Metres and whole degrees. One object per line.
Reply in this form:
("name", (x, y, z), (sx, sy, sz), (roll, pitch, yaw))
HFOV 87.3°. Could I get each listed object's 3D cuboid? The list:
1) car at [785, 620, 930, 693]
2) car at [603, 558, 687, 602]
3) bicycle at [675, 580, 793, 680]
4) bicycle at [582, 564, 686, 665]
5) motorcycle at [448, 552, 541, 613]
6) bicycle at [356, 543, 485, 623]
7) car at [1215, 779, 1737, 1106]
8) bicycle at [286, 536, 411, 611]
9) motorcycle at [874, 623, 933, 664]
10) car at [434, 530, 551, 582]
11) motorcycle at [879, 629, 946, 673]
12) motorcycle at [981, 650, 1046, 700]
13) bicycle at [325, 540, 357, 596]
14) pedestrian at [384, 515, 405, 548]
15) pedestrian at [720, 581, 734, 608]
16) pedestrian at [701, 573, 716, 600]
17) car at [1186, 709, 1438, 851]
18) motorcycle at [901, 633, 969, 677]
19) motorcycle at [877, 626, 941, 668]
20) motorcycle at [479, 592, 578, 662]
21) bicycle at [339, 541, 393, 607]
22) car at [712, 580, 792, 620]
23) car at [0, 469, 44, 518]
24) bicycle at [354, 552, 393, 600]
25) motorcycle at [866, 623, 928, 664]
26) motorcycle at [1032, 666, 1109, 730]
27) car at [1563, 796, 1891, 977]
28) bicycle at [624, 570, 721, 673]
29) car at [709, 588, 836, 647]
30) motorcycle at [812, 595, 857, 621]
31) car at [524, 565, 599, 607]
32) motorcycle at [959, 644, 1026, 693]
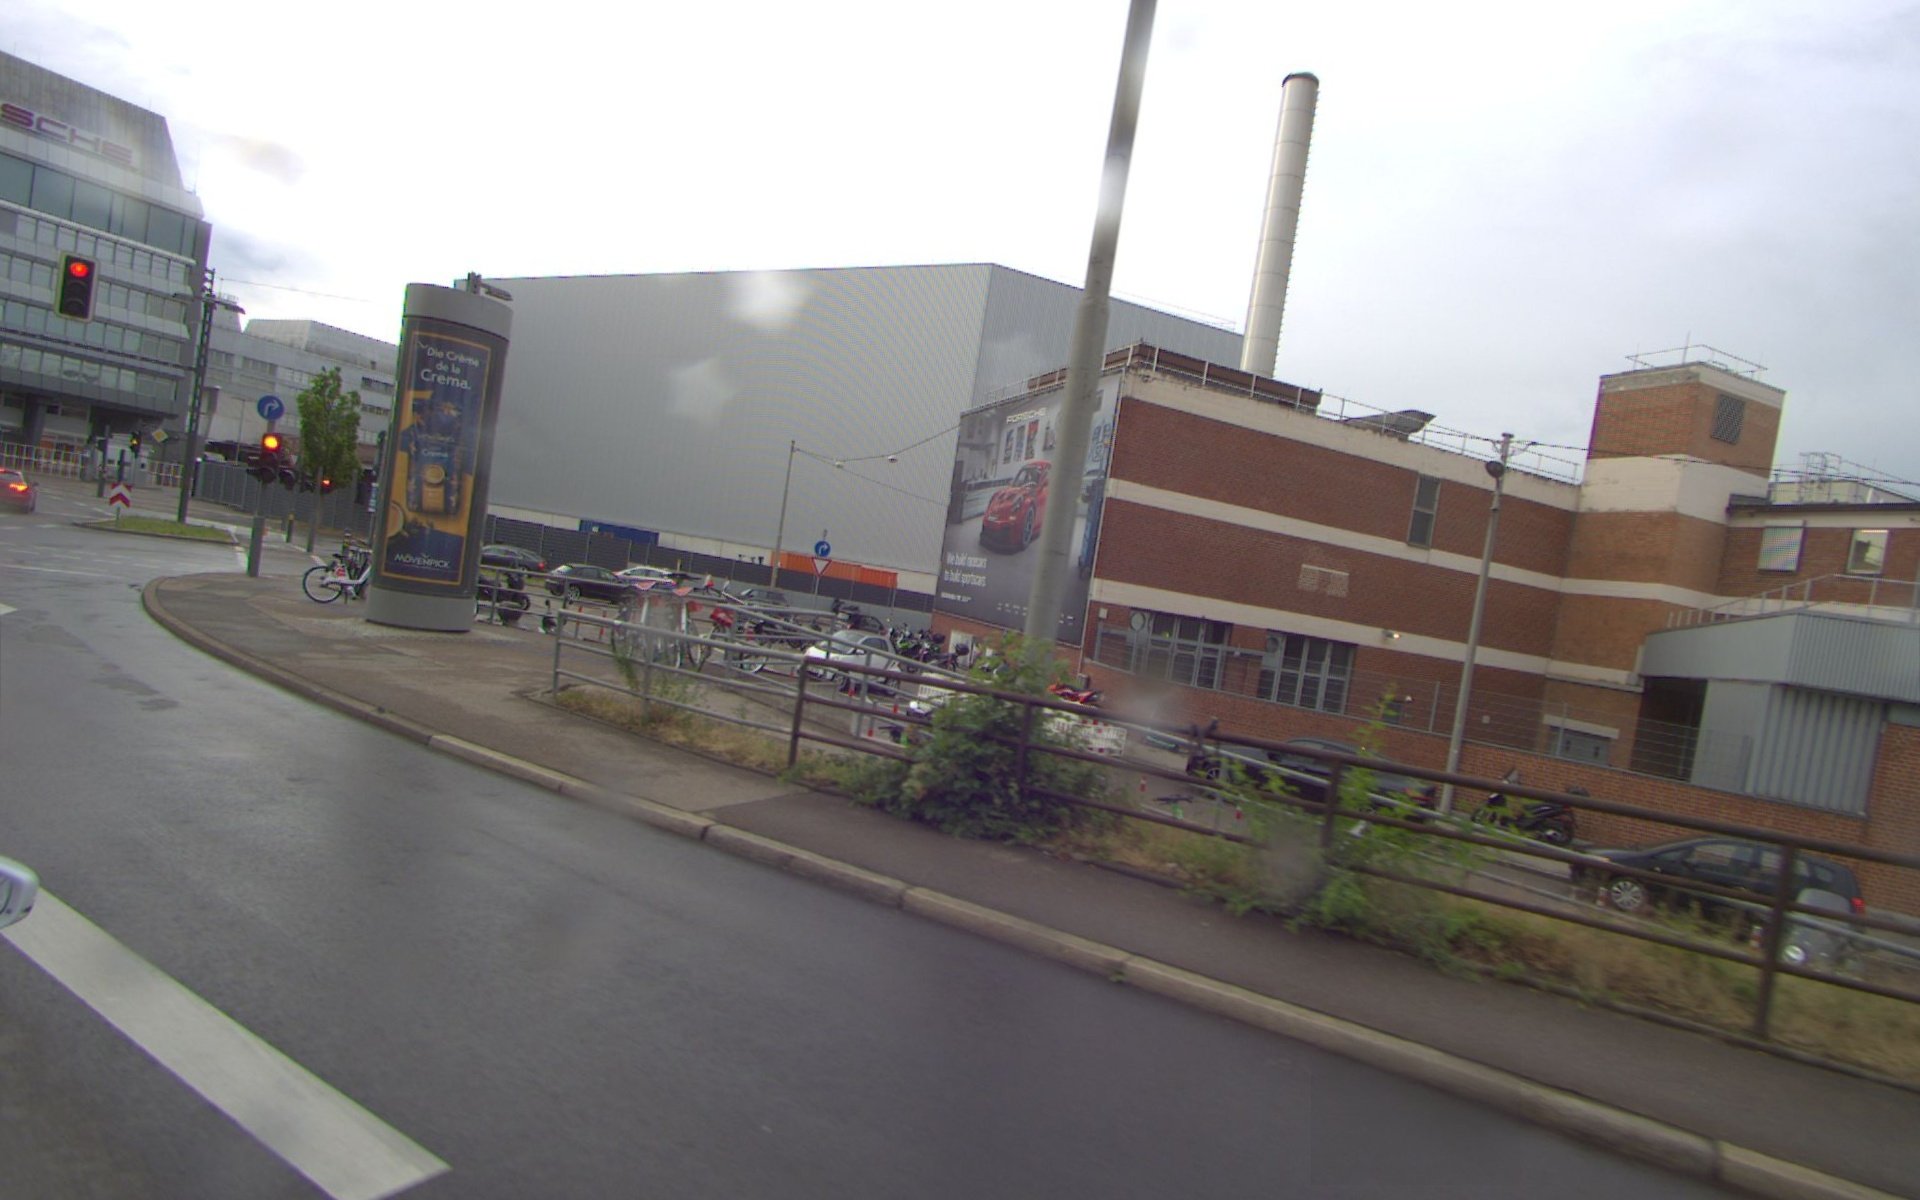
("car", (-2.742, 1.562, 27.348), (1.670, 1.500, 3.544), (11, 2, 43))
("car", (-16.340, -1.033, 52.301), (3.925, 1.620, 1.904), (10, 0, -17))
("bicycle", (-2.994, 0.405, 13.554), (0.588, 1.193, 1.933), (7, 0, 16))
("bicycle", (-4.494, 0.199, 14.014), (0.588, 1.239, 1.932), (7, 0, 3))
("motorcycle", (-13.593, -0.496, 29.409), (2.216, 1.470, 0.749), (8, 0, -36))
("bicycle", (-9.220, -0.264, 17.262), (0.582, 1.176, 1.801), (7, 0, 34))
("car", (4.564, 2.893, 9.301), (3.792, 1.574, 1.701), (8, 0, 31))
("bicycle", (-11.328, -0.478, 18.684), (0.668, 1.154, 1.769), (7, -1, 38))
("motorcycle", (-2.072, 1.596, 36.954), (1.984, 1.206, 0.609), (8, 4, 7))
("car", (-21.482, -2.003, 46.409), (4.519, 1.558, 1.750), (10, 0, -17))
("motorcycle", (-1.584, 1.707, 33.531), (1.992, 1.206, 0.607), (7, 4, -18))
("motorcycle", (1.547, 2.178, 29.081), (1.857, 1.327, 0.566), (5, 4, -41))
("bicycle", (-13.566, -0.720, 22.079), (0.382, 1.133, 1.738), (7, 0, -28))
("pedestrian", (-30.139, -3.665, 53.637), (0.802, 1.630, 0.763), (7, 0, -30))
("pedestrian", (-13.437, -0.309, 57.996), (0.640, 1.499, 0.438), (8, 1, -14))
("pedestrian", (-14.580, -0.800, 58.279), (0.603, 1.499, 0.423), (8, 1, -11))
("car", (6.808, 3.390, 19.610), (4.191, 1.628, 1.702), (11, 0, 31))
("motorcycle", (-0.810, 1.786, 32.695), (1.998, 1.206, 0.605), (6, 4, -27))
("motorcycle", (-1.753, 1.617, 34.745), (1.992, 1.206, 0.607), (7, 4, -18))
("motorcycle", (-7.835, 0.478, 18.245), (1.722, 1.002, 0.698), (8, 1, 32))
("bicycle", (-11.859, -0.540, 20.048), (0.384, 1.176, 1.976), (6, 0, -44))
("car", (-11.165, -0.006, 53.994), (3.943, 1.409, 1.750), (10, 0, -17))
("car", (-32.452, -3.656, 34.009), (1.764, 1.482, 3.694), (7, -1, -38))
("bicycle", (-12.923, -0.548, 22.162), (0.528, 0.916, 1.796), (7, -1, -34))
("motorcycle", (-2.243, 1.552, 35.844), (1.991, 1.206, 0.607), (7, 4, -15))
("motorcycle", (2.946, 2.610, 27.063), (0.919, 1.327, 1.968), (5, 4, -30))
("car", (12.125, 4.487, 16.280), (3.865, 1.647, 1.701), (8, 0, 31))
("bicycle", (-3.876, 0.283, 13.707), (0.588, 1.239, 1.932), (7, 0, 2))
("car", (-6.905, 0.660, 37.251), (4.087, 1.547, 1.838), (8, -1, 8))
("motorcycle", (-7.728, 0.492, 62.023), (2.461, 1.201, 0.994), (8, 0, -22))
("car", (-15.904, -0.572, 40.058), (1.604, 1.306, 3.525), (7, -1, -41))
("motorcycle", (0.993, 2.075, 30.298), (0.679, 1.327, 2.010), (11, 4, 44))
